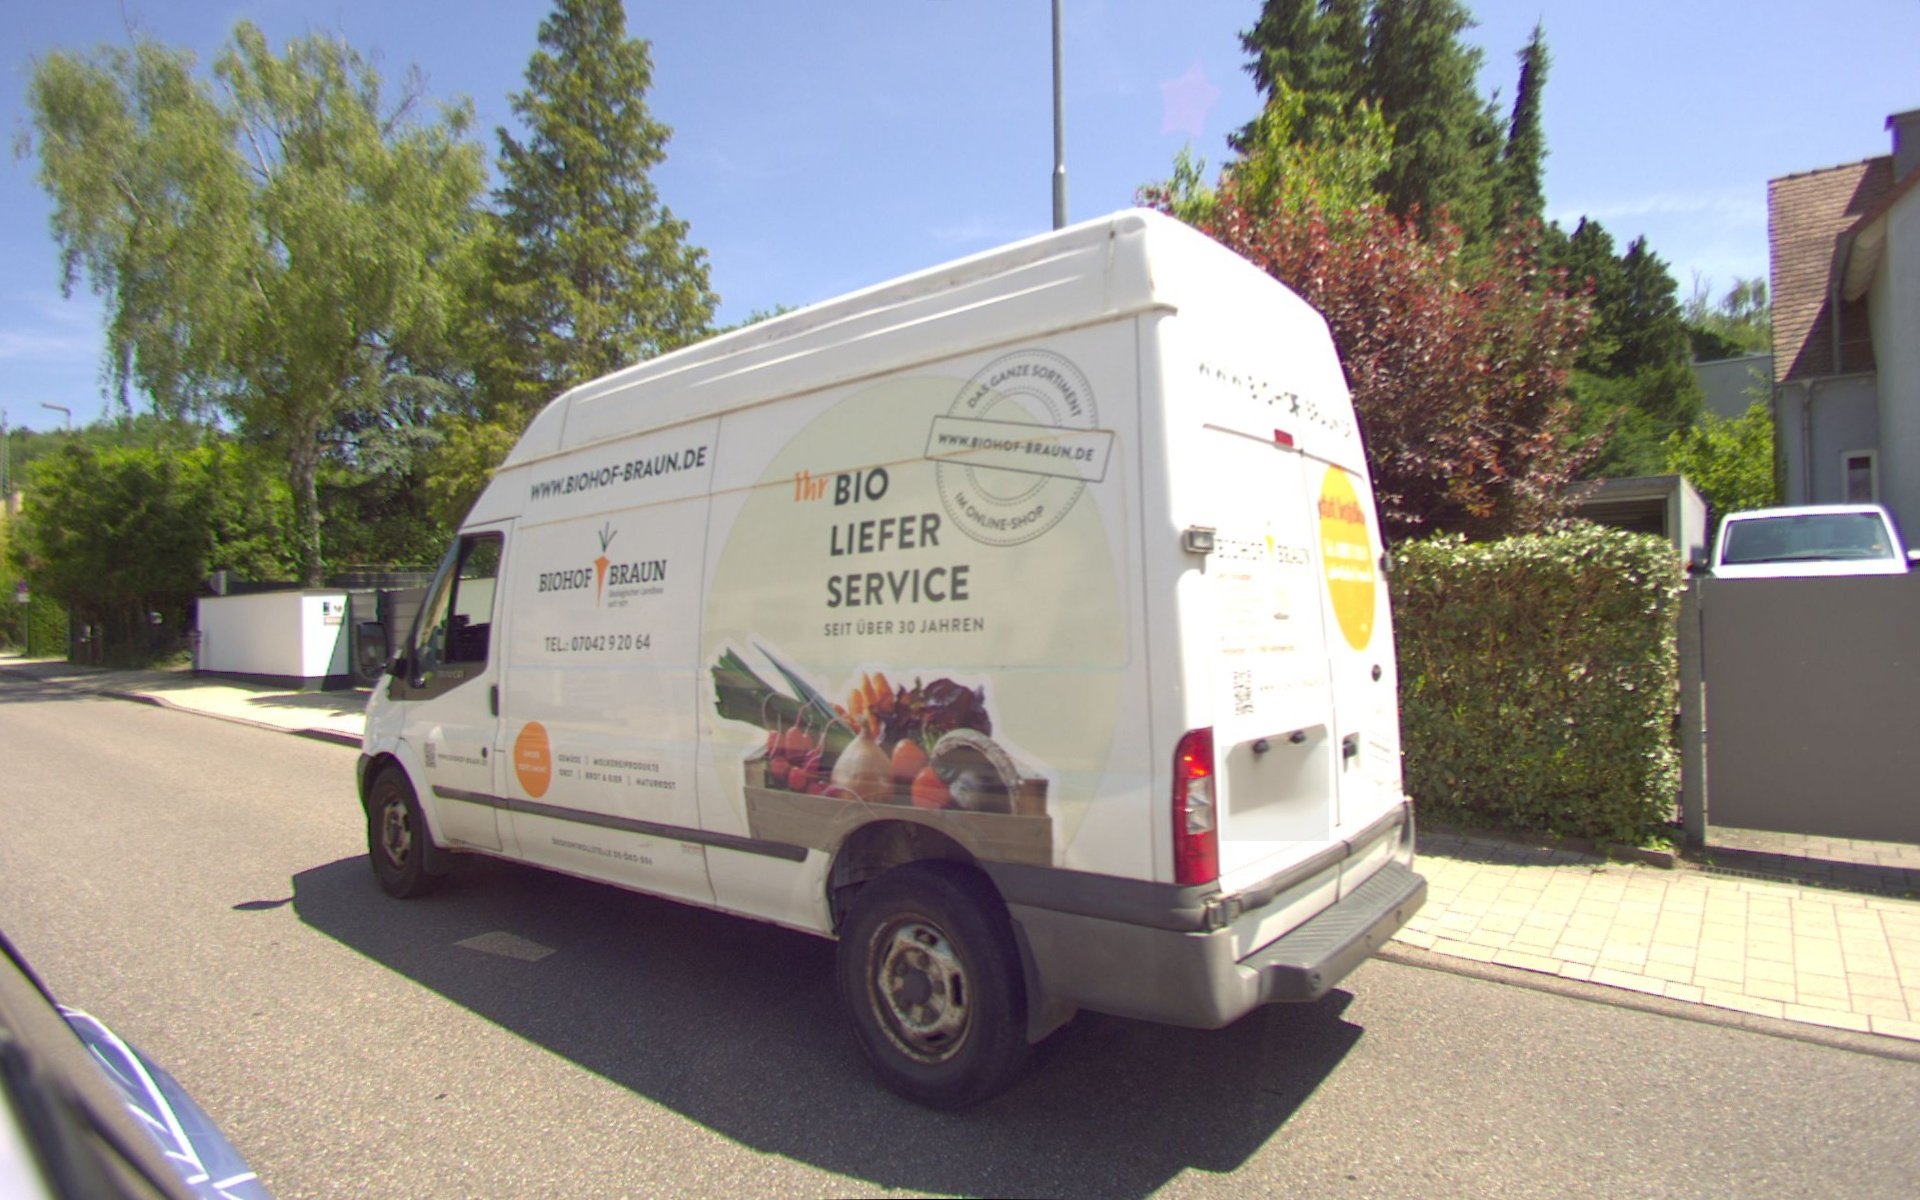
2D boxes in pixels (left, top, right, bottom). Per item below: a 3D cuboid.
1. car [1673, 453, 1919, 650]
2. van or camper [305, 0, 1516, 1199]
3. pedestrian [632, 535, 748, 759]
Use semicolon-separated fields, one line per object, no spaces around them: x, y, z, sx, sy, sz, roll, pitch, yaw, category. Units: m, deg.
10.235;-0.521;12.179;2.161;1.908;4.750;0;1;42;car
-0.861;0.104;4.753;5.819;2.734;2.017;0;1;40;van or camper
-2.593;0.420;9.723;0.803;2.029;0.713;0;1;41;pedestrian
